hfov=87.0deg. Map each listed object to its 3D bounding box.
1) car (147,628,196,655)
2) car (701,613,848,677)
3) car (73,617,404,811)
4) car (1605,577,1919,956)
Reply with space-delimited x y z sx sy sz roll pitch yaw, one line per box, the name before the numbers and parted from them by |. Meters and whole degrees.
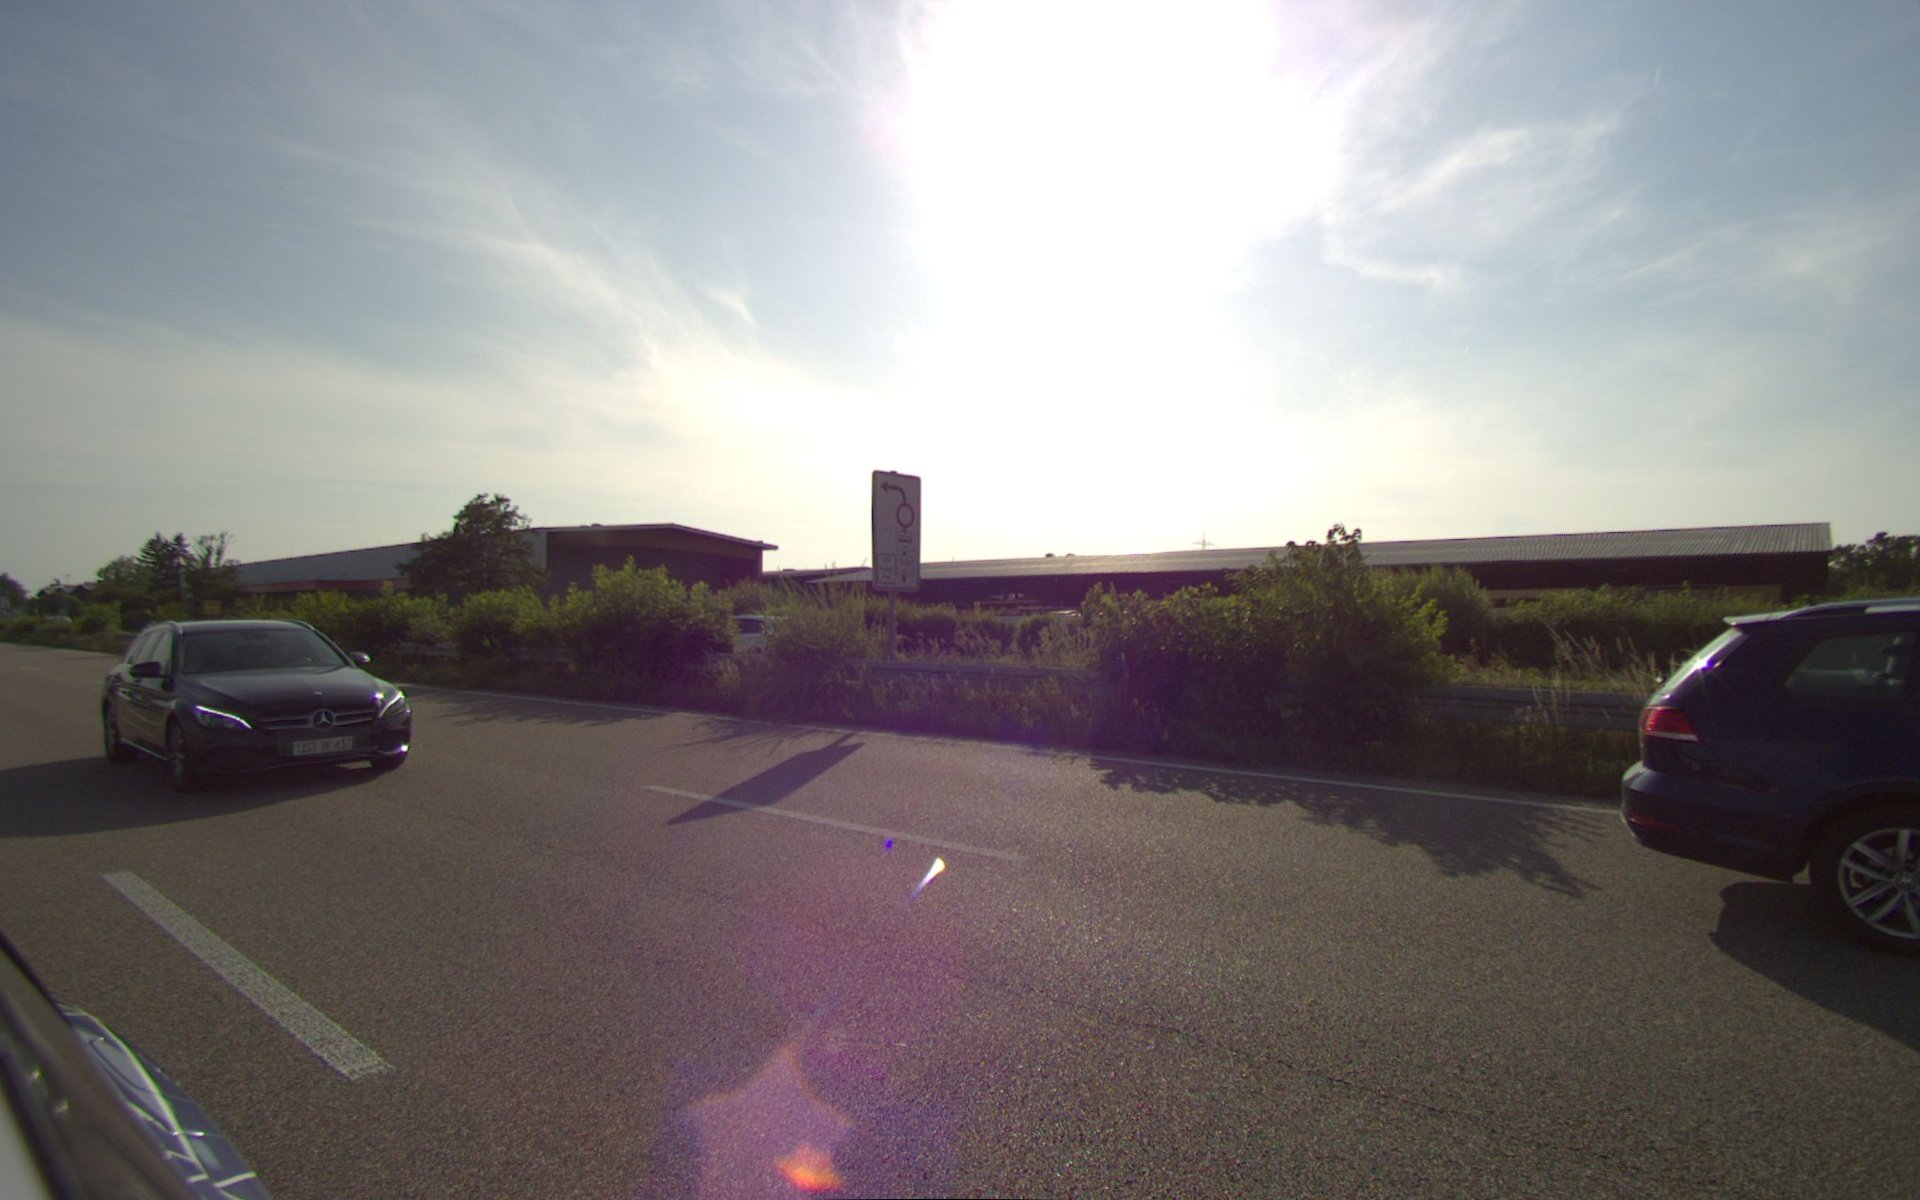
car | -57.941 3.020 74.363 3.993 1.963 1.819 -1 -2 37
car | -4.890 1.137 26.405 3.998 1.539 1.684 -1 -2 42
car | -7.311 0.918 10.016 5.020 1.482 1.556 -1 -1 41
car | 5.308 0.638 3.705 4.774 1.482 1.629 -2 -2 41
